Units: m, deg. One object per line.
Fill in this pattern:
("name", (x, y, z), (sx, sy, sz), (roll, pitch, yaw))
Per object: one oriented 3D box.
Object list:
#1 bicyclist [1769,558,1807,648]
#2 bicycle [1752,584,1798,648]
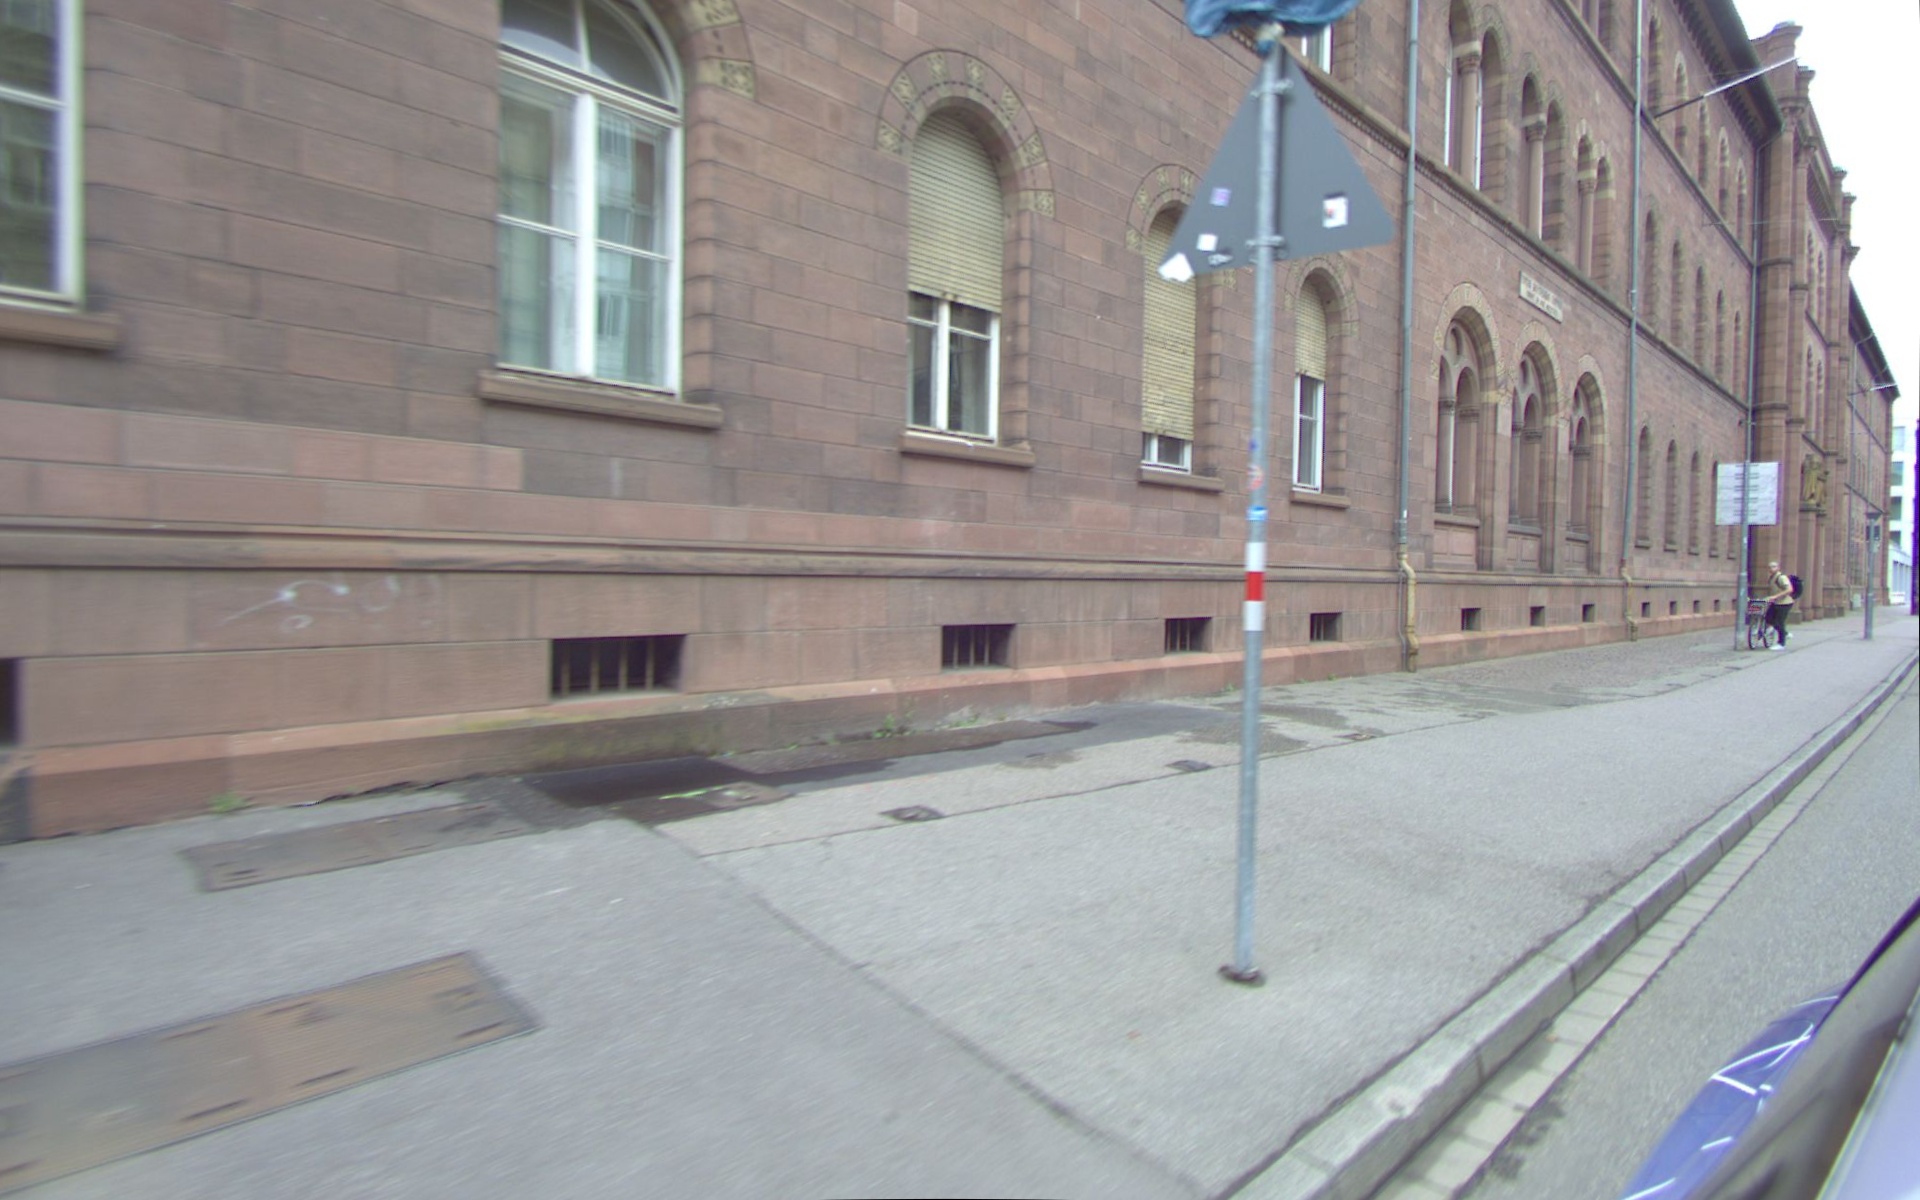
("bicyclist", (17.686, 0.045, 21.624), (0.443, 1.881, 0.529), (0, 2, -44))
("bicycle", (17.514, 0.318, 21.732), (2.190, 1.291, 0.446), (-1, 4, -45))
